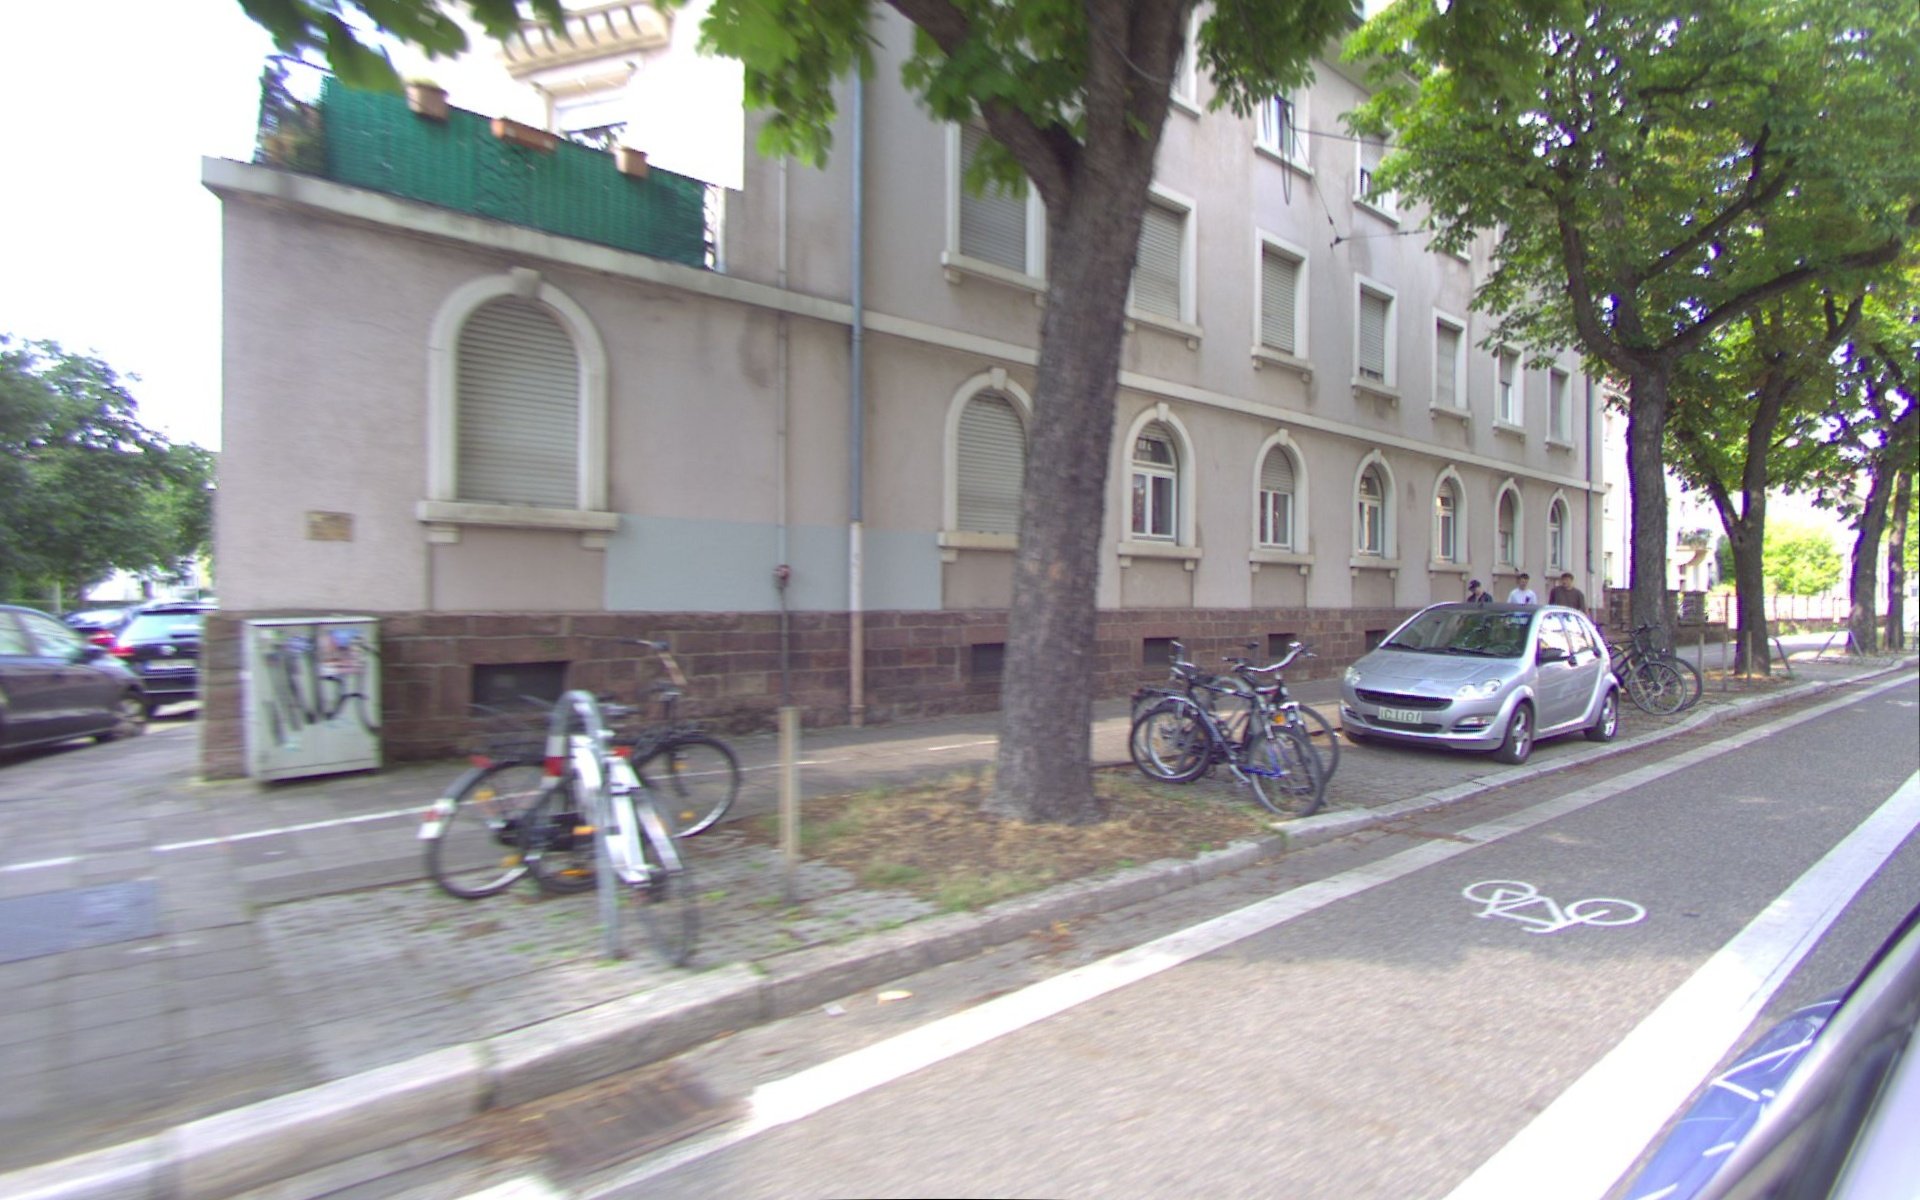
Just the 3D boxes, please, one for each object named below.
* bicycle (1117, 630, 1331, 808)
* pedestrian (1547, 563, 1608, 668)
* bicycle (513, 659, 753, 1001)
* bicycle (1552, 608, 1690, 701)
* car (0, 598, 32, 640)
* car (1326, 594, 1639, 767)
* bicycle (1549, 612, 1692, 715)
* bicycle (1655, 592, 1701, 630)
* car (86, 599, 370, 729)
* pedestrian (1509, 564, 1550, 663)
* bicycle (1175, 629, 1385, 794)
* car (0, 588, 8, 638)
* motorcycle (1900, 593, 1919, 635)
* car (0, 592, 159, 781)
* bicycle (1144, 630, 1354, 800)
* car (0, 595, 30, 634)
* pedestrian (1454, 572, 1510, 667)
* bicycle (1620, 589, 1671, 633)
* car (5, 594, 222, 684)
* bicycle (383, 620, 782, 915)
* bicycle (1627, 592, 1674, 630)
[{"bbox_3d":[1.841,0.789,7.289,0.342,1.084,1.652,0,0,-36],"label":"bicycle"},{"bbox_3d":[11.598,0.286,19.013,0.870,1.913,0.755,0,0,-41],"label":"pedestrian"},{"bbox_3d":[-1.355,0.819,4.080,0.470,1.079,1.270,0,0,-41],"label":"bicycle"},{"bbox_3d":[8.966,0.709,13.776,0.508,1.167,1.493,0,0,-33],"label":"bicycle"},{"bbox_3d":[-36.760,0.700,38.003,1.357,1.517,3.339,2,0,-14],"label":"car"},{"bbox_3d":[5.501,0.673,10.451,3.830,1.463,1.588,0,0,-41],"label":"car"},{"bbox_3d":[8.619,0.787,13.254,0.508,1.236,1.493,-1,1,-33],"label":"bicycle"},{"bbox_3d":[23.816,0.352,33.558,2.553,1.206,0.653,-1,0,-41],"label":"bicycle"},{"bbox_3d":[-9.836,0.745,14.034,1.695,1.470,4.265,0,0,-13],"label":"car"},{"bbox_3d":[10.998,0.249,19.545,0.675,1.876,0.505,0,0,-41],"label":"pedestrian"},{"bbox_3d":[2.393,0.792,7.755,0.342,1.084,1.651,0,0,-37],"label":"bicycle"},{"bbox_3d":[-29.988,0.387,29.450,1.694,1.517,3.627,2,0,-14],"label":"car"},{"bbox_3d":[35.145,0.516,36.439,0.796,1.512,2.067,0,0,5],"label":"motorcycle"},{"bbox_3d":[-8.518,0.666,8.455,1.695,1.470,3.582,0,0,-17],"label":"car"},{"bbox_3d":[2.098,0.795,7.562,0.342,1.084,1.652,0,0,-36],"label":"bicycle"},{"bbox_3d":[-39.298,0.583,40.662,1.357,1.517,3.339,2,0,-14],"label":"car"},{"bbox_3d":[9.431,0.342,18.275,0.959,1.660,0.581,0,0,-41],"label":"pedestrian"},{"bbox_3d":[21.585,0.323,31.845,2.553,1.335,0.653,-1,0,-41],"label":"bicycle"},{"bbox_3d":[-16.752,0.689,20.294,1.696,1.530,3.939,-3,1,-13],"label":"car"},{"bbox_3d":[-1.790,0.709,5.050,0.584,1.173,1.809,0,0,42],"label":"bicycle"},{"bbox_3d":[23.322,0.357,34.158,2.553,1.206,0.653,-1,0,-41],"label":"bicycle"}]
